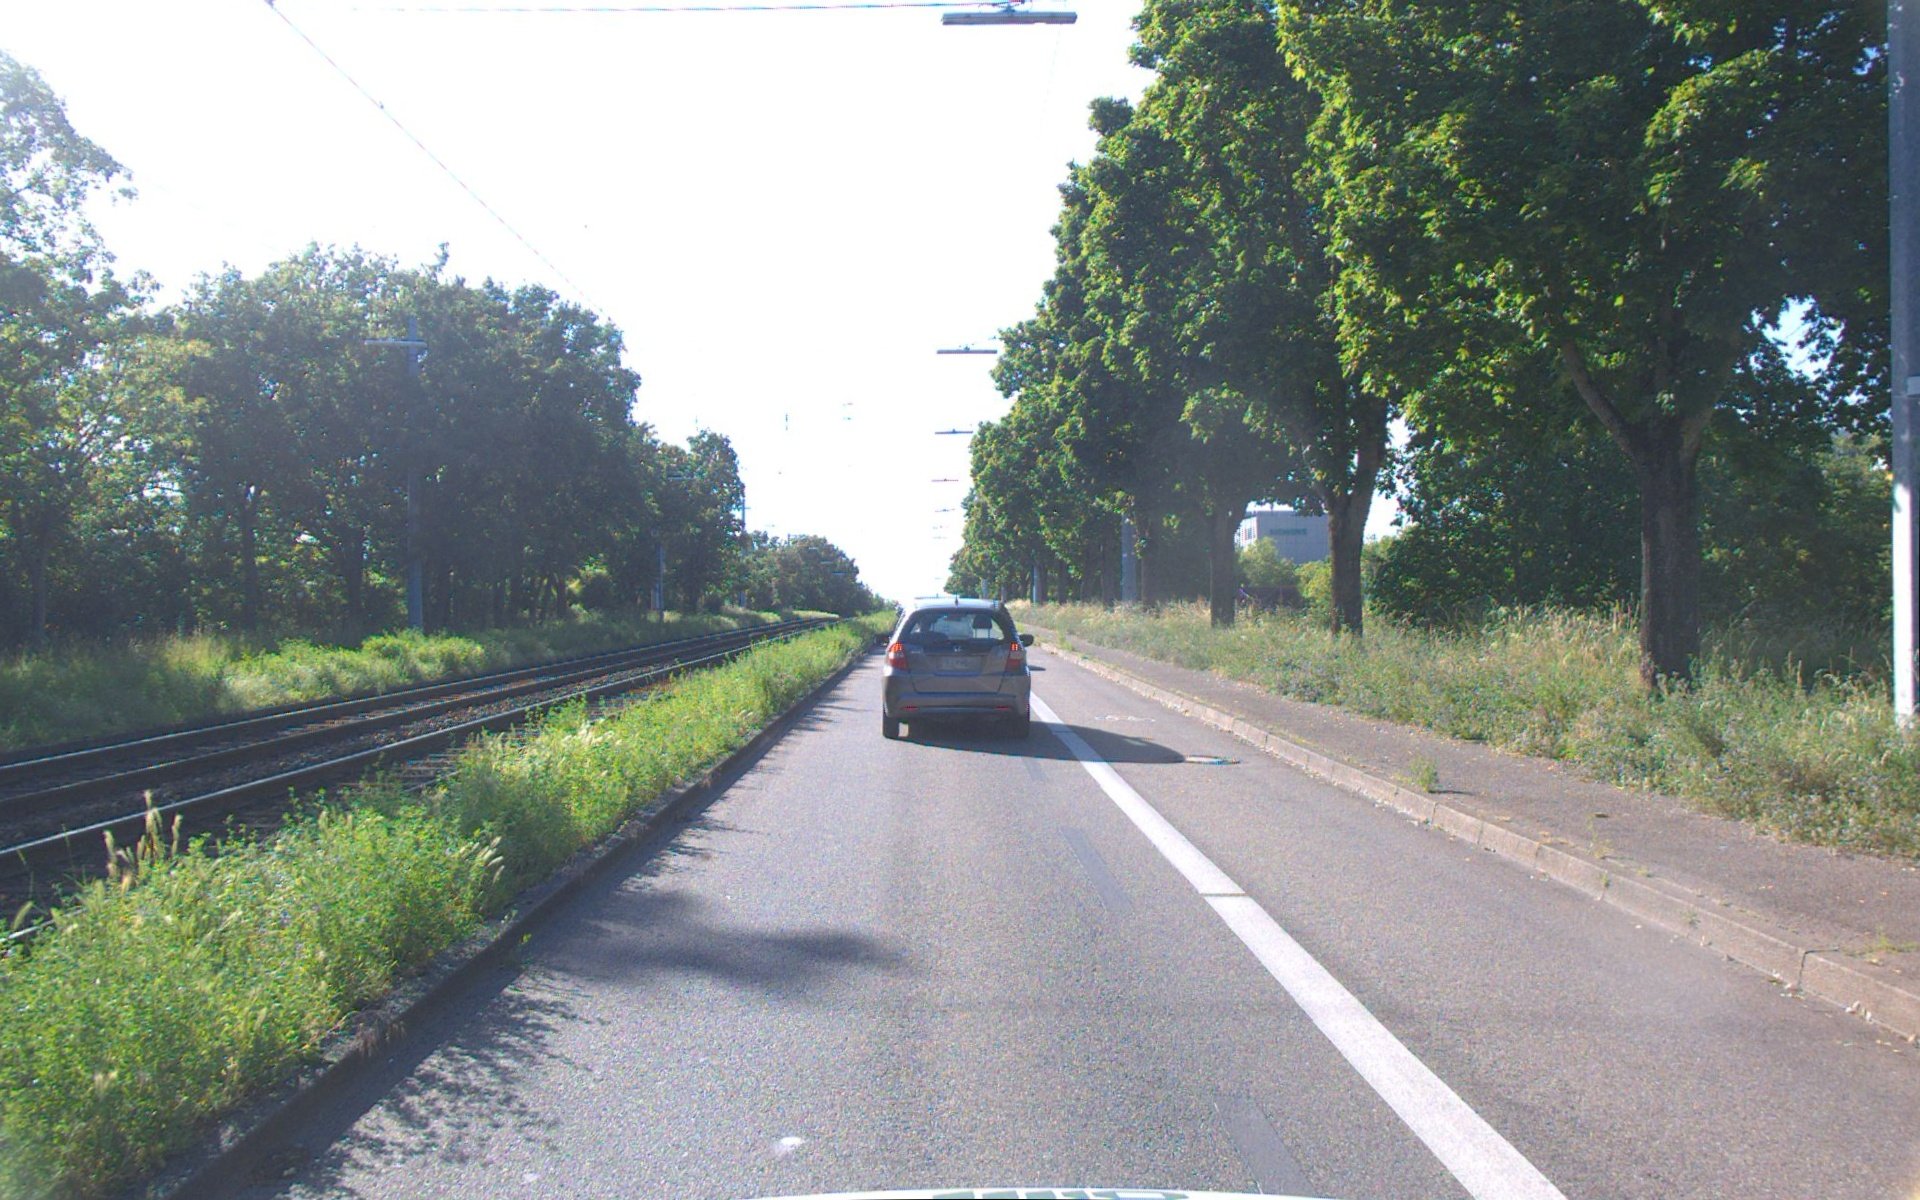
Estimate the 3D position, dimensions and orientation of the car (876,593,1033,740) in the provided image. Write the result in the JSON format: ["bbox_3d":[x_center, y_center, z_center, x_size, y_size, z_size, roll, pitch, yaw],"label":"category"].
[{"bbox_3d":[-0.068,0.715,19.402,1.636,1.534,3.810,1,0,0],"label":"car"}]

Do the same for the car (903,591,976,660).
[{"bbox_3d":[-0.472,0.588,39.083,1.621,1.534,3.810,1,0,0],"label":"car"}]
